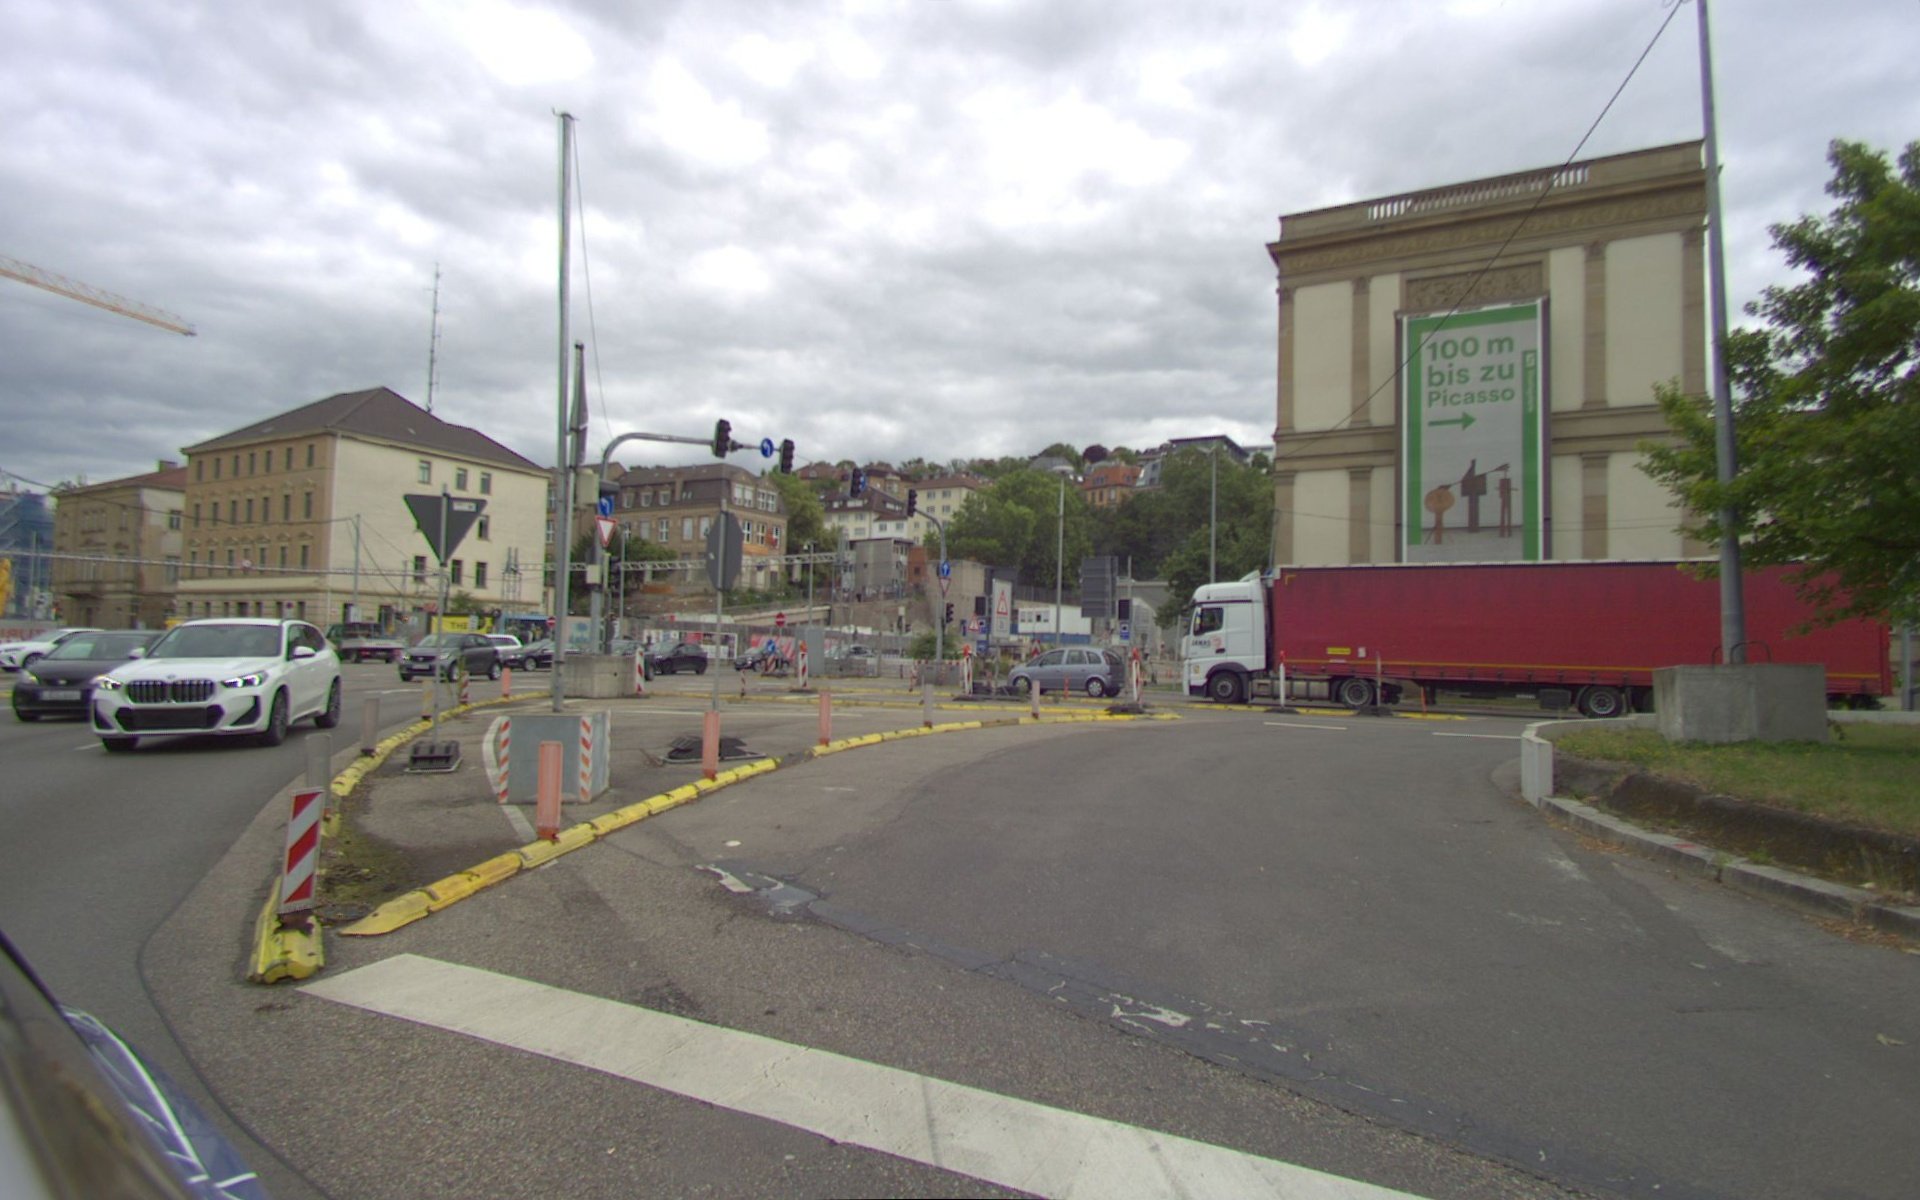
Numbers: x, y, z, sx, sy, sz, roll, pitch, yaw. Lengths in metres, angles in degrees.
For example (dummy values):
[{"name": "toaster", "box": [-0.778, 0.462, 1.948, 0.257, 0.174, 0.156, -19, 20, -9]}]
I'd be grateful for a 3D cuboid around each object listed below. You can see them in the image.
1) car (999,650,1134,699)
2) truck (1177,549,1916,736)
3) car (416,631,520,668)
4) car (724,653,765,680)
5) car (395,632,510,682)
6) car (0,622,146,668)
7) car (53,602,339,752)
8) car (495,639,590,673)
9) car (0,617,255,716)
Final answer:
[{"name": "car", "box": [3.529, 2.440, 33.644, 4.113, 1.516, 1.753, -1, -4, 29]}, {"name": "truck", "box": [14.457, 1.095, 27.638, 16.542, 4.114, 2.898, -1, -5, 29]}, {"name": "car", "box": [-22.472, 2.312, 46.355, 1.684, 1.586, 4.032, -2, -5, 28]}, {"name": "car", "box": [-12.634, 3.873, 59.087, 1.844, 1.431, 4.117, 2, -2, -19]}, {"name": "car", "box": [-15.910, 1.806, 31.907, 1.558, 1.430, 3.565, 2, -4, 5]}, {"name": "car", "box": [-29.503, 1.504, 33.143, 1.685, 1.427, 4.045, -1, -4, 29]}, {"name": "car", "box": [-9.487, 0.917, 12.963, 1.782, 1.617, 3.724, 1, -3, -18]}, {"name": "car", "box": [-19.050, 2.570, 46.317, 1.723, 1.400, 3.662, 0, -5, 33]}, {"name": "car", "box": [-14.561, 1.171, 17.914, 1.706, 1.481, 4.428, 3, -4, -11]}]
